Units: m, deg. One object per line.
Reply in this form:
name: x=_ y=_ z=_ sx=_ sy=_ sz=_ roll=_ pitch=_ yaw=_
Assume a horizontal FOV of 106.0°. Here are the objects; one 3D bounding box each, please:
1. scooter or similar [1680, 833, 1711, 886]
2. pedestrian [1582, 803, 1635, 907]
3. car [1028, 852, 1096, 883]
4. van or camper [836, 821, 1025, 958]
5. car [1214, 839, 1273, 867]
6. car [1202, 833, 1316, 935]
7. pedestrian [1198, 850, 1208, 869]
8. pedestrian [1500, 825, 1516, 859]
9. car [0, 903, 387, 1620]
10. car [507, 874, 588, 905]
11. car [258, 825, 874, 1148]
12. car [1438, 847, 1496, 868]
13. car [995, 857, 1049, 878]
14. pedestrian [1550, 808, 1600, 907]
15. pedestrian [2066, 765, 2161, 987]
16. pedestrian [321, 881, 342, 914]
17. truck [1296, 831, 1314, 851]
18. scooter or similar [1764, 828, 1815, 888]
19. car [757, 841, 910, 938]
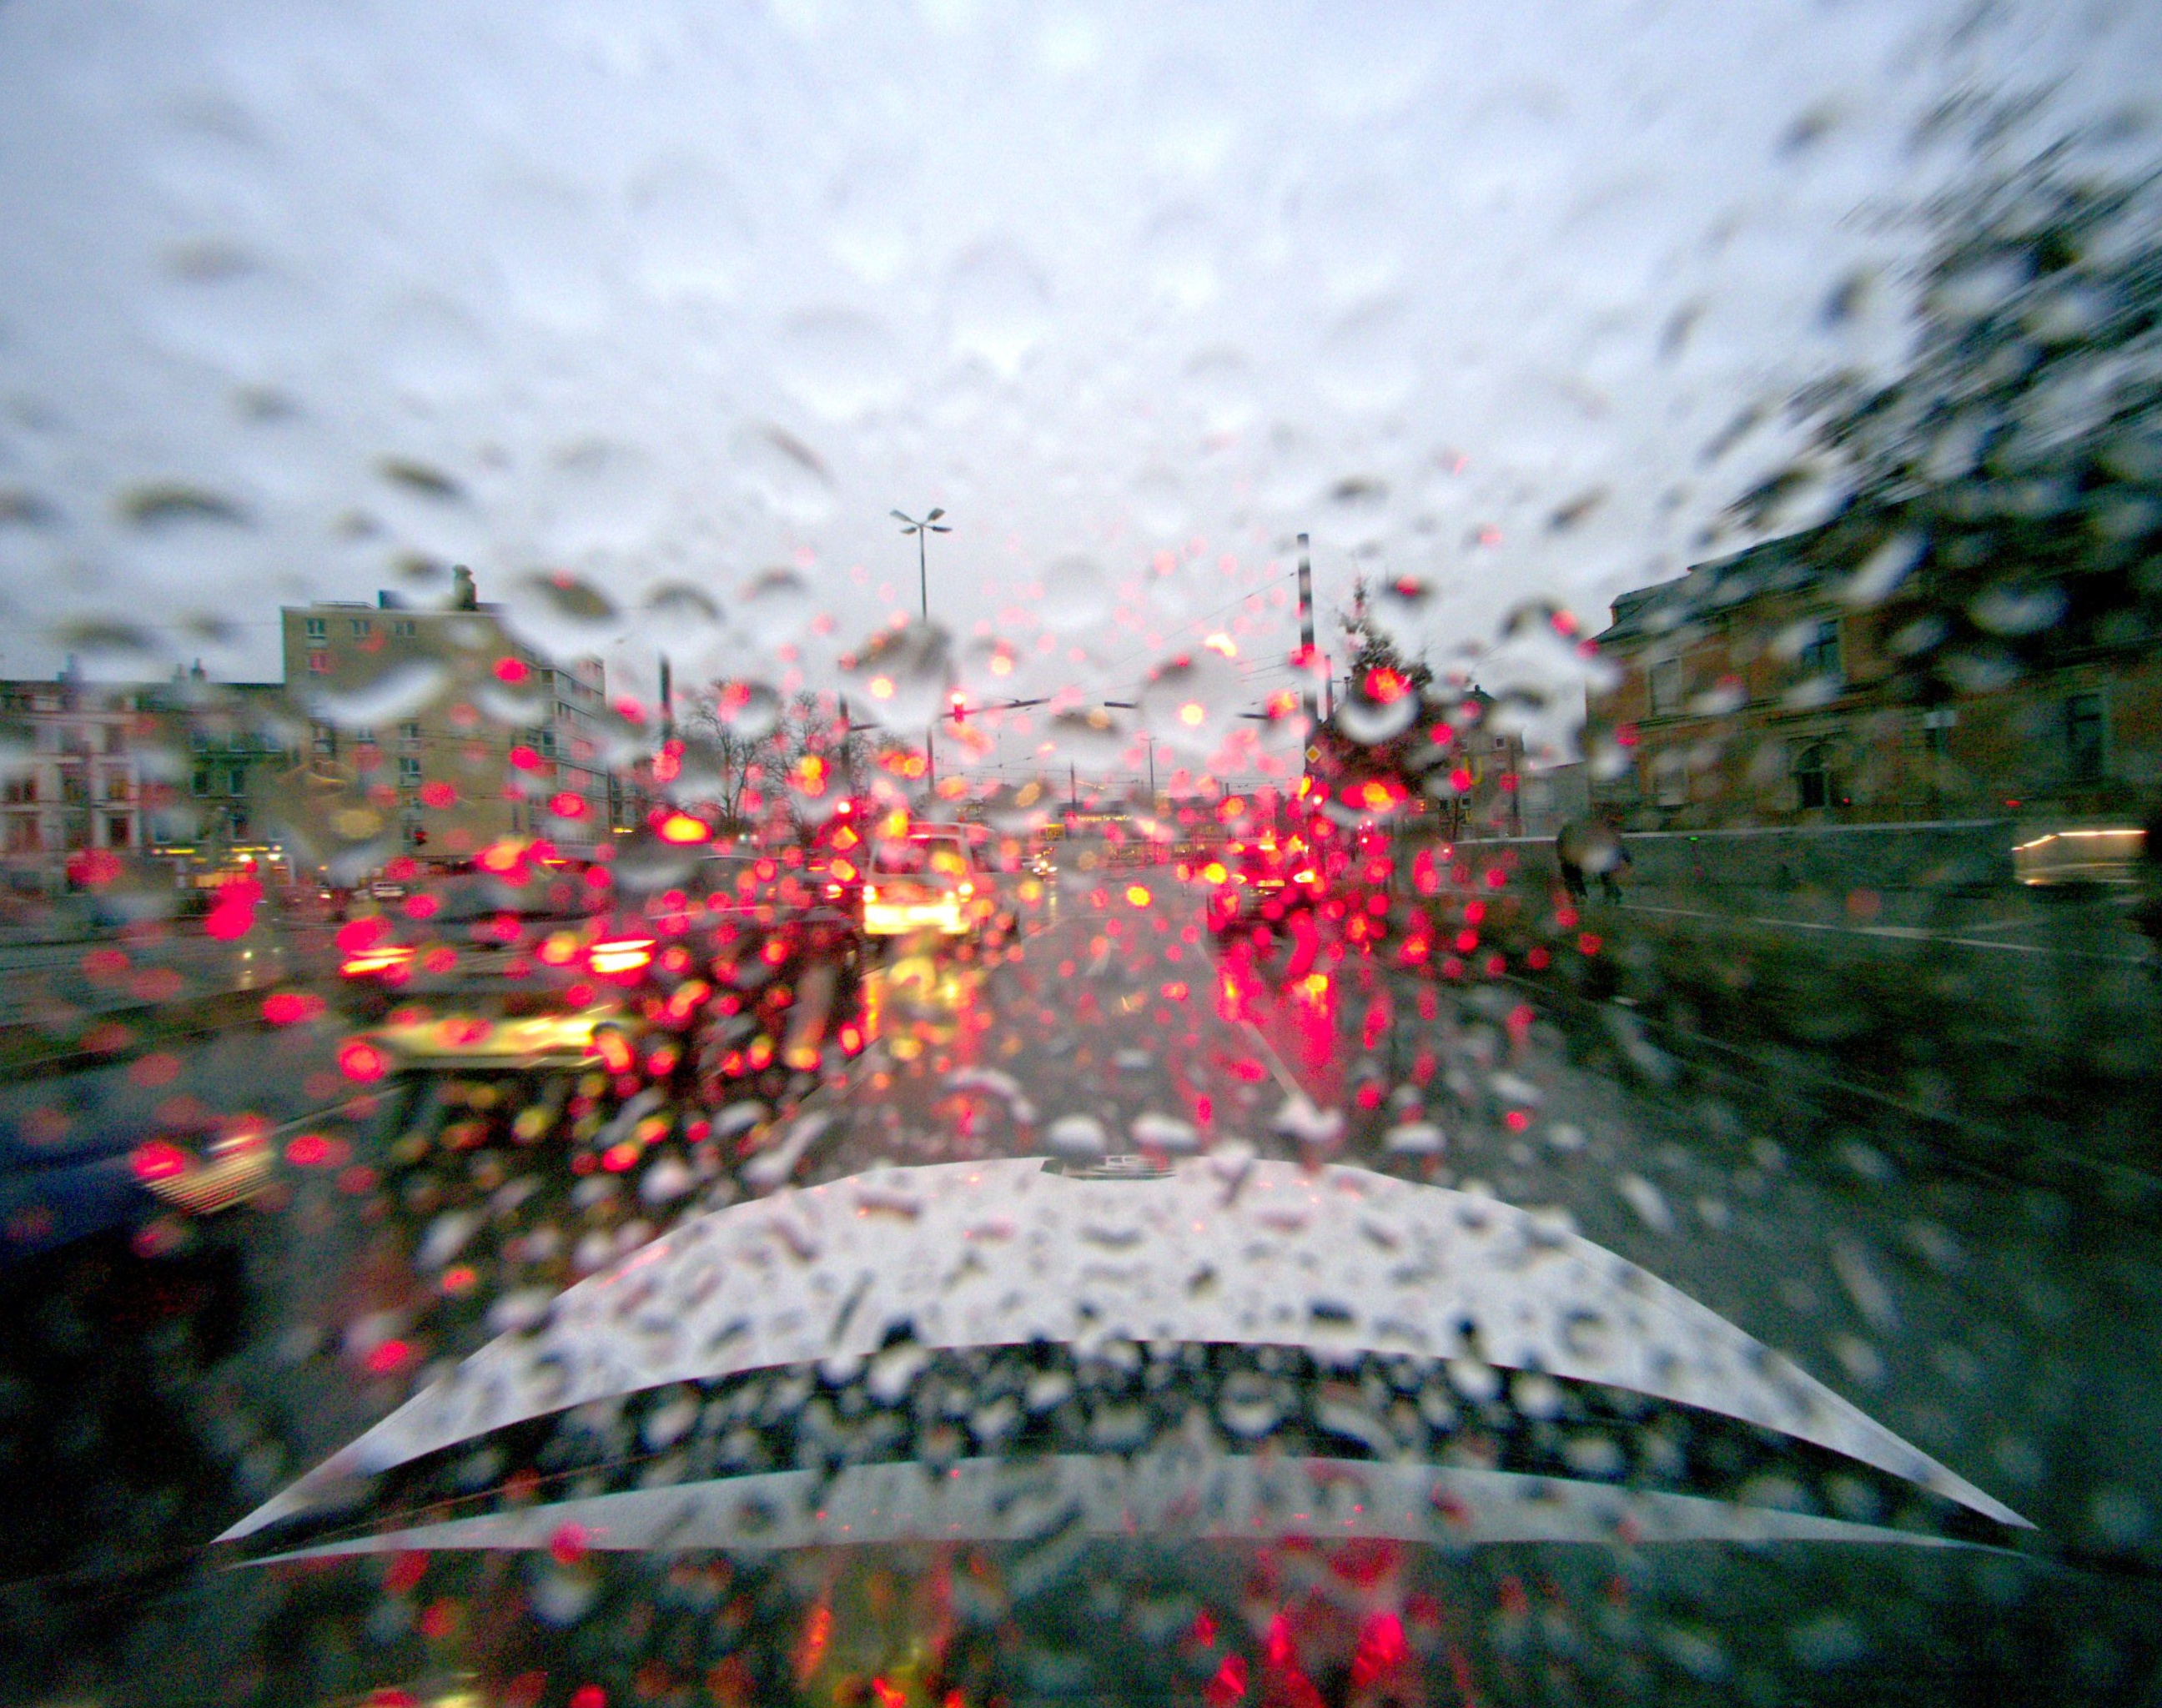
scooter or similar: x=14.478 y=0.116 z=19.177 sx=0.507 sy=1.213 sz=1.392 roll=-3 pitch=-1 yaw=38
pedestrian: x=10.559 y=0.001 z=16.321 sx=0.800 sy=2.013 sz=0.765 roll=-1 pitch=2 yaw=28
car: x=-1.087 y=0.787 z=48.812 sx=1.974 sy=1.602 sz=4.026 roll=-3 pitch=0 yaw=35
van or camper: x=-2.543 y=0.561 z=15.242 sx=2.191 sy=2.109 sz=4.994 roll=-1 pitch=0 yaw=5
car: x=13.303 y=-0.059 z=66.820 sx=4.389 sy=2.013 sz=1.911 roll=-3 pitch=0 yaw=-1
car: x=3.537 y=0.534 z=16.923 sx=1.769 sy=1.800 sz=4.431 roll=-1 pitch=0 yaw=6
pedestrian: x=11.554 y=0.513 z=77.366 sx=0.595 sy=1.840 sz=0.613 roll=-3 pitch=-1 yaw=-31
pedestrian: x=24.845 y=-0.704 z=47.410 sx=0.669 sy=1.950 sz=0.666 roll=-3 pitch=-1 yaw=33
car: x=-3.002 y=0.855 z=0.514 sx=1.654 sy=1.404 sz=4.117 roll=0 pitch=0 yaw=-1
car: x=-35.648 y=2.367 z=54.506 sx=3.993 sy=1.772 sz=1.990 roll=-3 pitch=0 yaw=-15
car: x=-3.151 y=0.666 z=6.337 sx=1.778 sy=1.601 sz=4.543 roll=0 pitch=0 yaw=2
car: x=35.227 y=0.322 z=74.277 sx=4.808 sy=1.657 sz=1.731 roll=-2 pitch=-1 yaw=-16
car: x=-4.488 y=1.021 z=61.754 sx=3.806 sy=1.366 sz=1.844 roll=-3 pitch=0 yaw=-11
pedestrian: x=9.889 y=0.054 z=16.338 sx=0.800 sy=1.929 sz=0.765 roll=-1 pitch=2 yaw=28
pedestrian: x=8.986 y=0.161 z=6.826 sx=0.578 sy=1.781 sz=0.774 roll=-4 pitch=-1 yaw=28
pedestrian: x=-43.123 y=2.502 z=46.886 sx=0.628 sy=1.802 sz=0.570 roll=-2 pitch=0 yaw=-14
truck: x=33.408 y=-1.931 z=121.480 sx=1.976 sy=2.691 sz=5.142 roll=-3 pitch=0 yaw=21
scooter or similar: x=14.899 y=0.077 z=17.146 sx=0.507 sy=1.213 sz=1.391 roll=-3 pitch=-1 yaw=30
car: x=-5.107 y=0.672 z=17.418 sx=1.877 sy=1.772 sz=4.002 roll=-2 pitch=0 yaw=2
